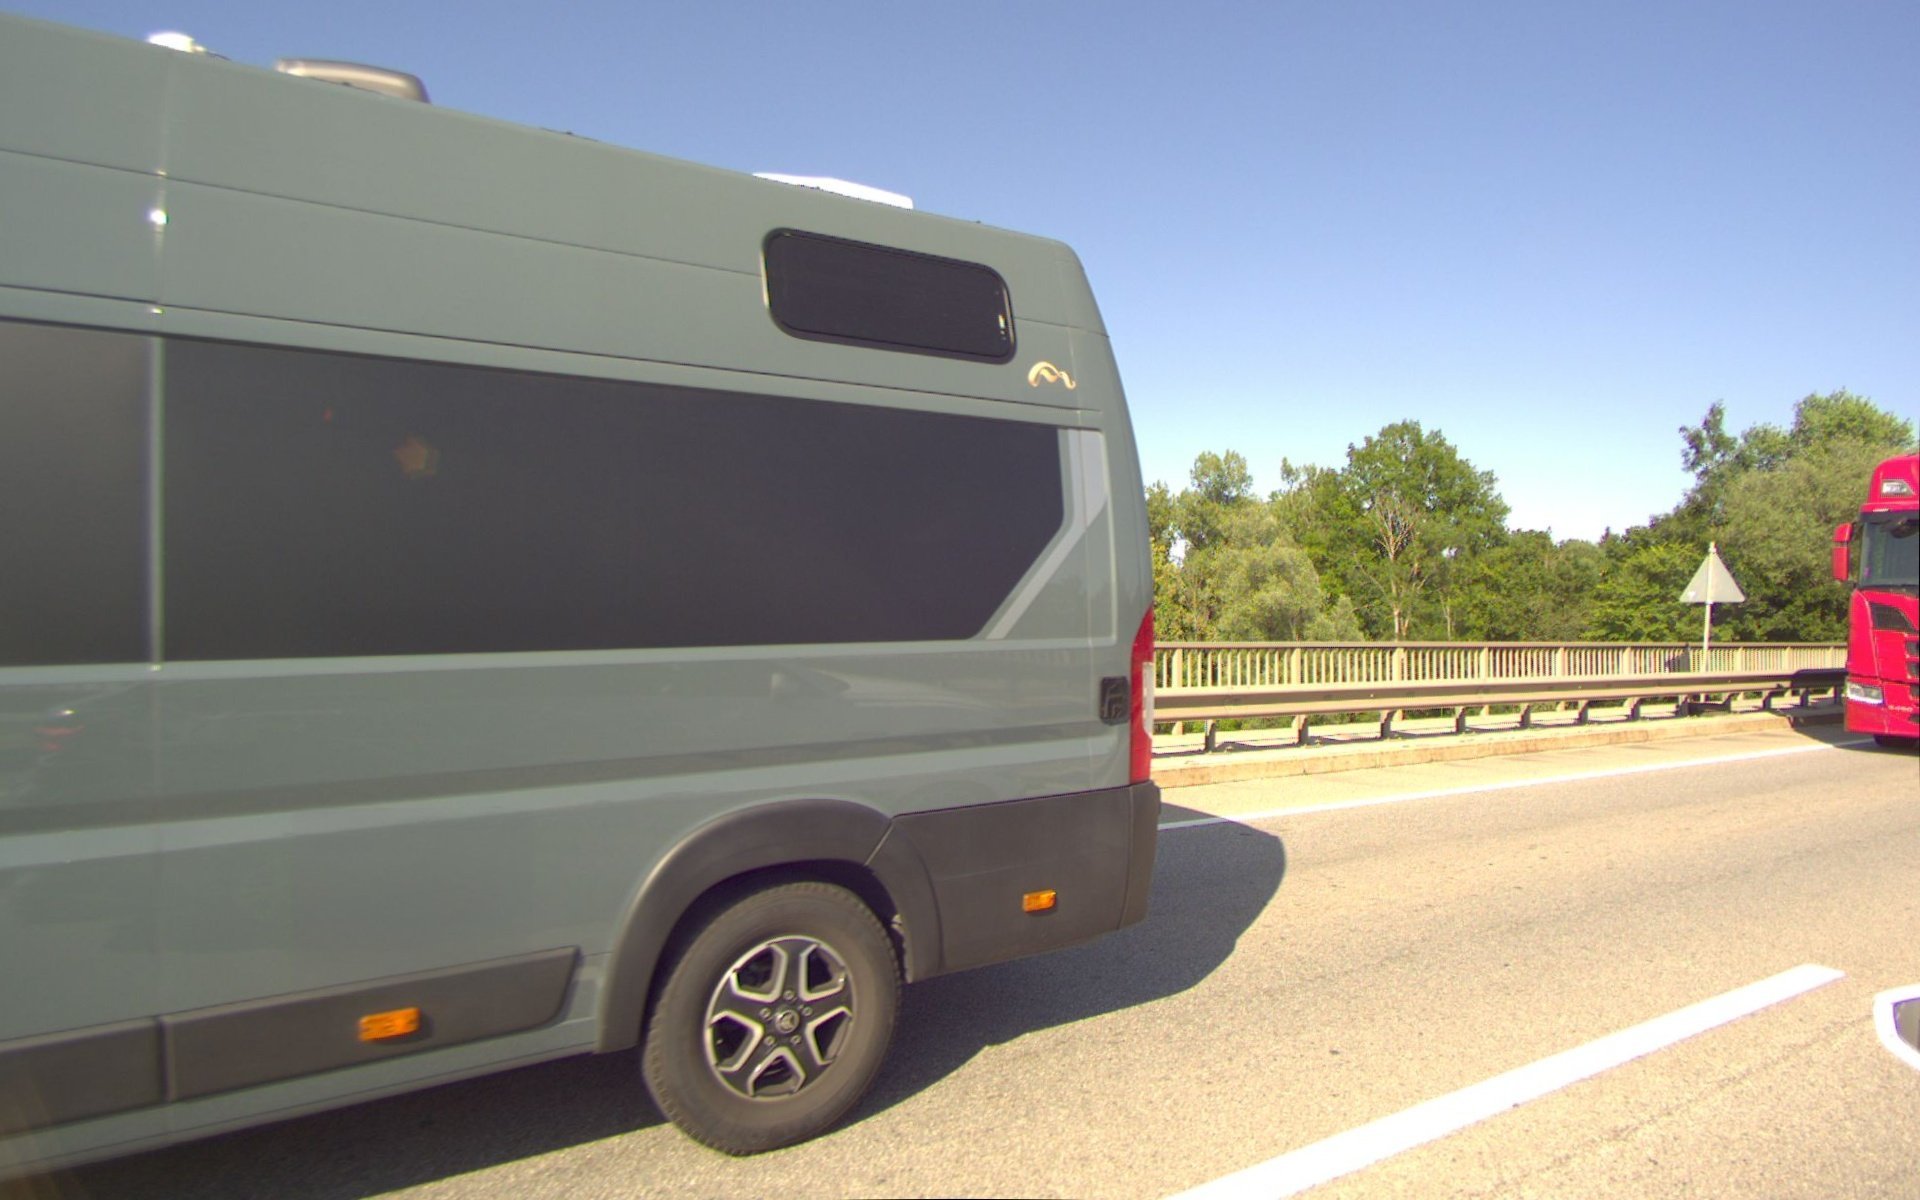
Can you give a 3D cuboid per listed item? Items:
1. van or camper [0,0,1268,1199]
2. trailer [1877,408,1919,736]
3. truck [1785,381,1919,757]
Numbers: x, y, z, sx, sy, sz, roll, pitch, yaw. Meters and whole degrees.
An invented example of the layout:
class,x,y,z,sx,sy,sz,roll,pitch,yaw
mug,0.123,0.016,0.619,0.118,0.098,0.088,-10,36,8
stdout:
class,x,y,z,sx,sy,sz,roll,pitch,yaw
van or camper,-2.431,-0.055,2.735,6.737,3.091,2.304,1,0,-30
trailer,19.370,-0.241,16.049,14.133,4.359,2.893,1,0,-30
truck,13.370,-0.297,12.558,5.645,4.240,2.895,1,0,-30
